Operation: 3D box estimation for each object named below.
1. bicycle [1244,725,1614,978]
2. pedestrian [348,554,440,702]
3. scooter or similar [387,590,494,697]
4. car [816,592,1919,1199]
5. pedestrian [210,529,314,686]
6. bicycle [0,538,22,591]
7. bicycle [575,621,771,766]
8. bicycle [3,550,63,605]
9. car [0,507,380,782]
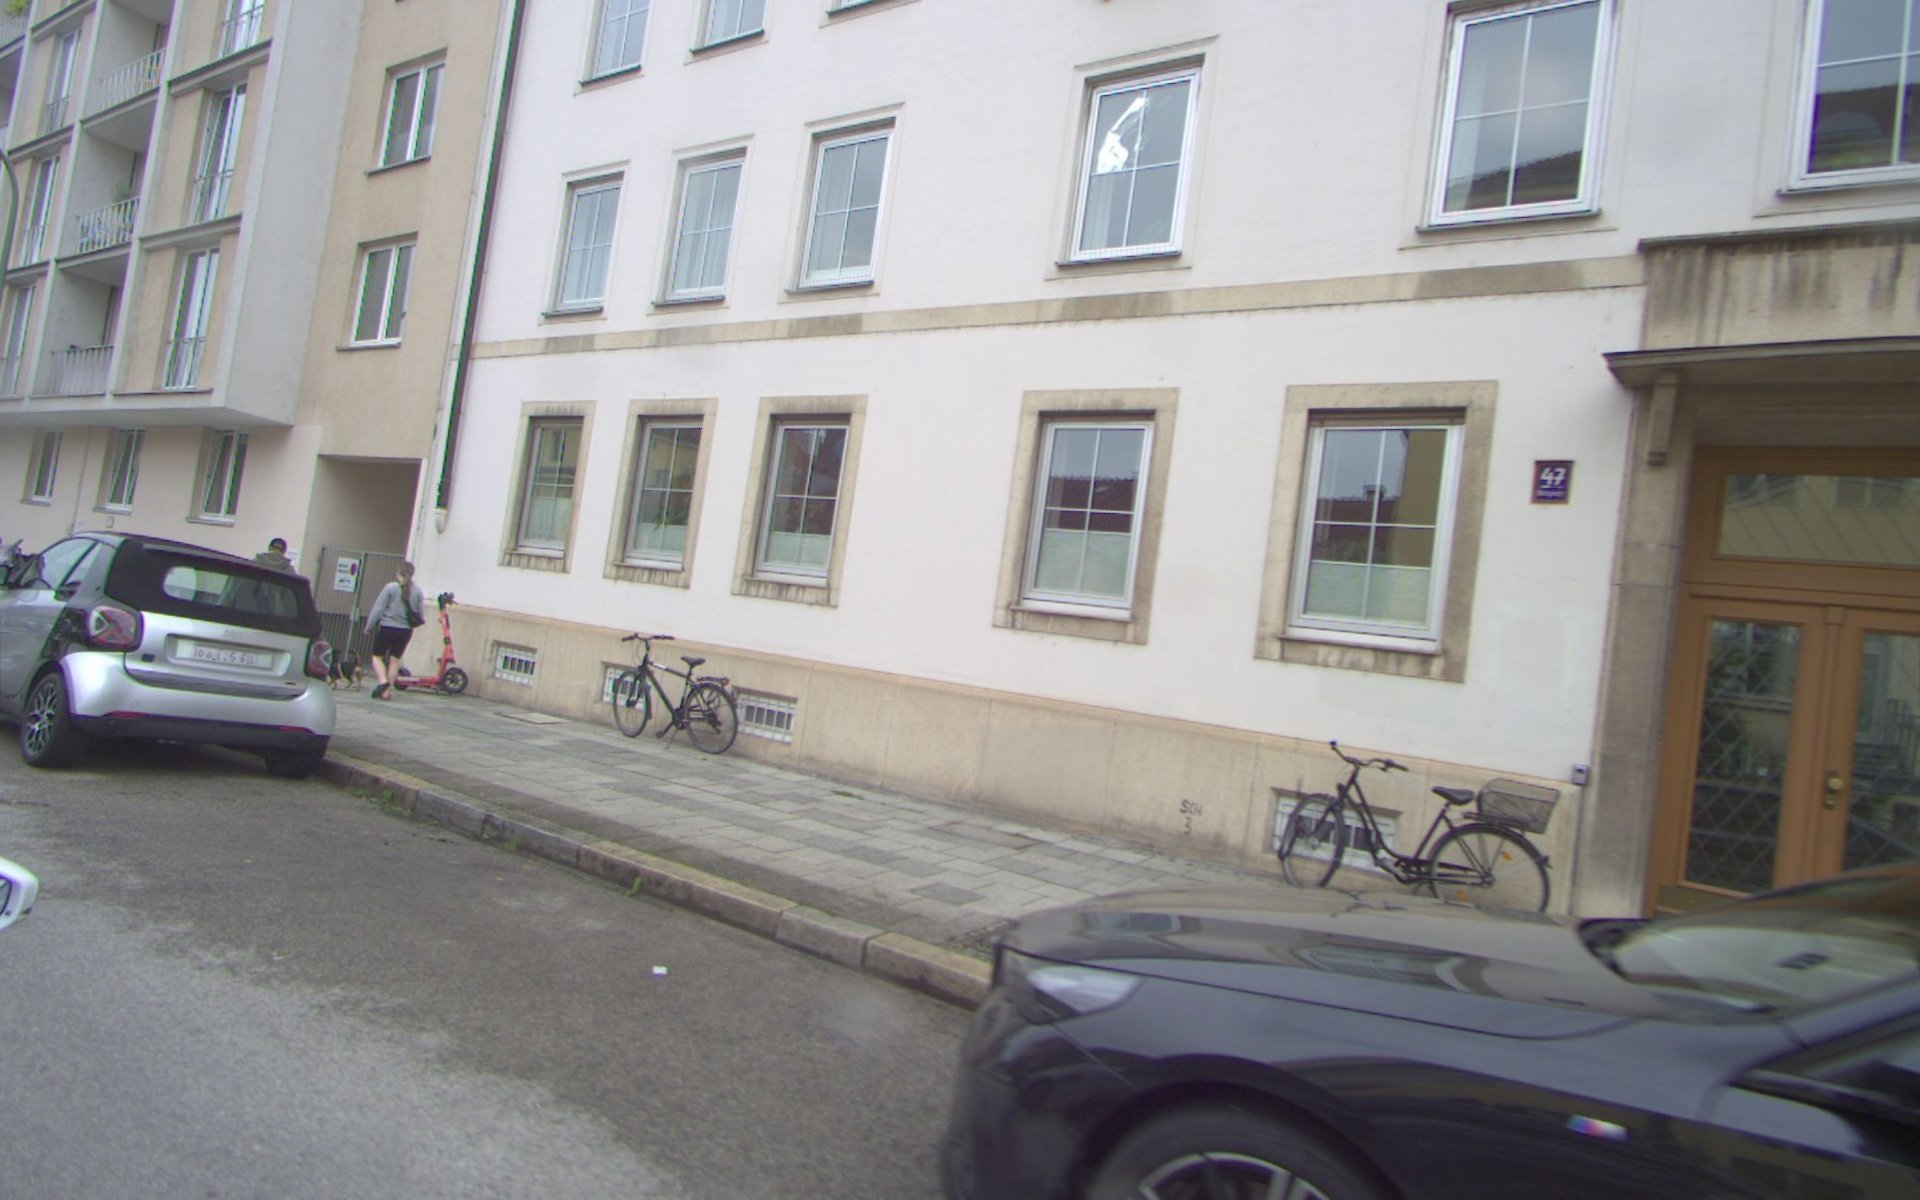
[{"bbox_3d":[3.005,1.540,6.571,1.994,1.139,0.660,6,-2,32],"label":"bicycle"},{"bbox_3d":[-6.467,0.324,11.503,0.551,1.603,0.532,7,-1,32],"label":"pedestrian"},{"bbox_3d":[-6.580,0.557,12.757,1.020,1.266,0.601,3,-2,23],"label":"scooter or similar"},{"bbox_3d":[2.244,1.139,1.932,4.735,1.559,1.864,6,-6,30],"label":"car"},{"bbox_3d":[-7.897,0.089,11.389,0.620,1.673,0.597,7,-1,32],"label":"pedestrian"},{"bbox_3d":[-20.632,-0.797,21.514,1.378,1.035,0.390,6,-1,31],"label":"bicycle"},{"bbox_3d":[-2.990,0.940,10.397,1.994,1.176,0.660,6,-2,32],"label":"bicycle"},{"bbox_3d":[-18.551,-0.458,20.120,1.378,0.947,0.445,6,-1,31],"label":"bicycle"},{"bbox_3d":[-6.494,0.249,7.780,3.817,1.549,1.678,7,-6,32],"label":"car"}]
